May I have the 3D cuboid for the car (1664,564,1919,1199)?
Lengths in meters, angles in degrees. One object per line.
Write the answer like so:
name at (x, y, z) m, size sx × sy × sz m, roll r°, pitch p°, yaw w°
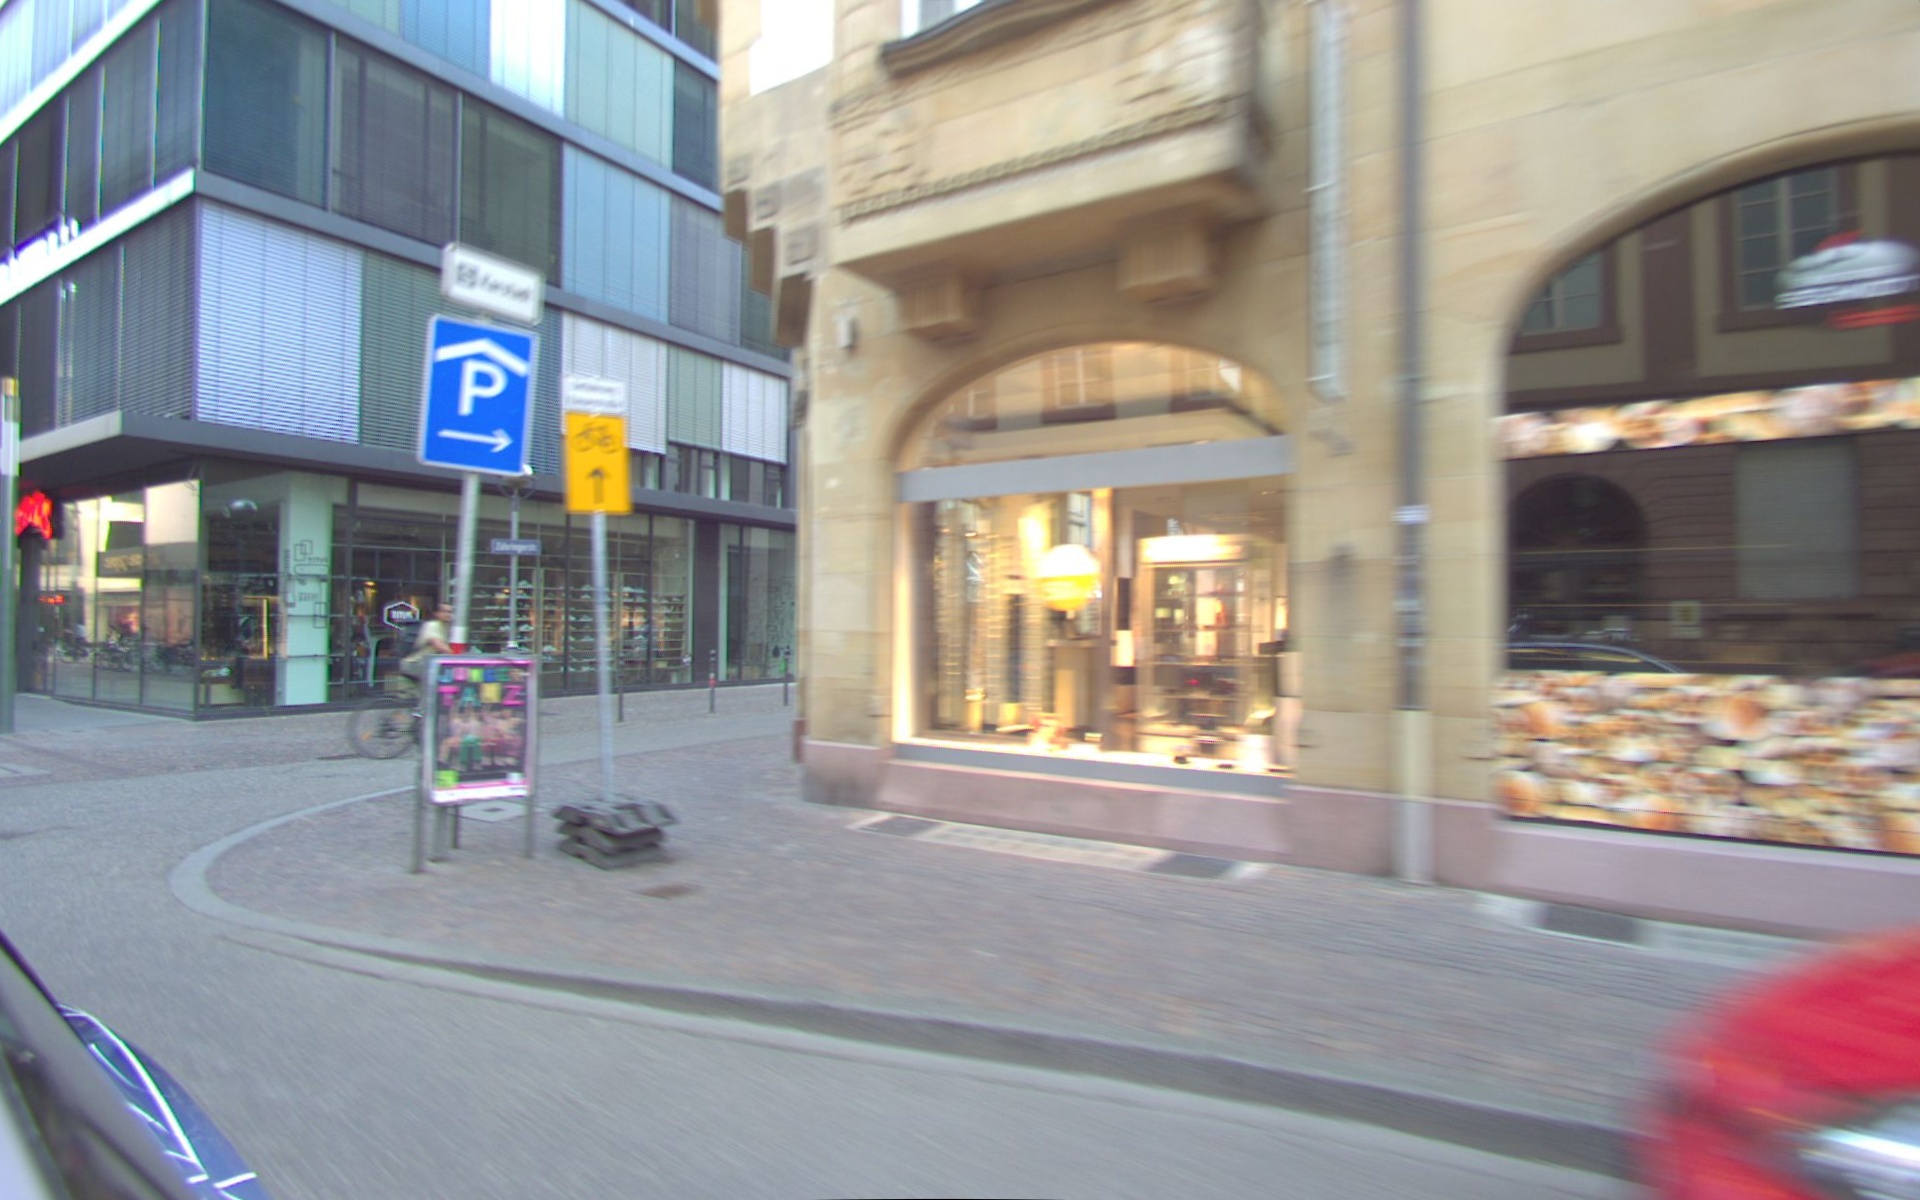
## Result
car at (3.076, 0.754, 0.947) m, size 3.922 × 1.481 × 1.643 m, roll 1°, pitch -3°, yaw 35°

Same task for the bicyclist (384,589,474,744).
bicyclist at (-5.998, 0.735, 11.463) m, size 0.854 × 1.683 × 0.678 m, roll 1°, pitch -2°, yaw -27°

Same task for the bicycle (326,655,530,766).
bicycle at (-5.972, 1.207, 11.464) m, size 1.970 × 1.137 × 0.702 m, roll 1°, pitch -2°, yaw -27°
